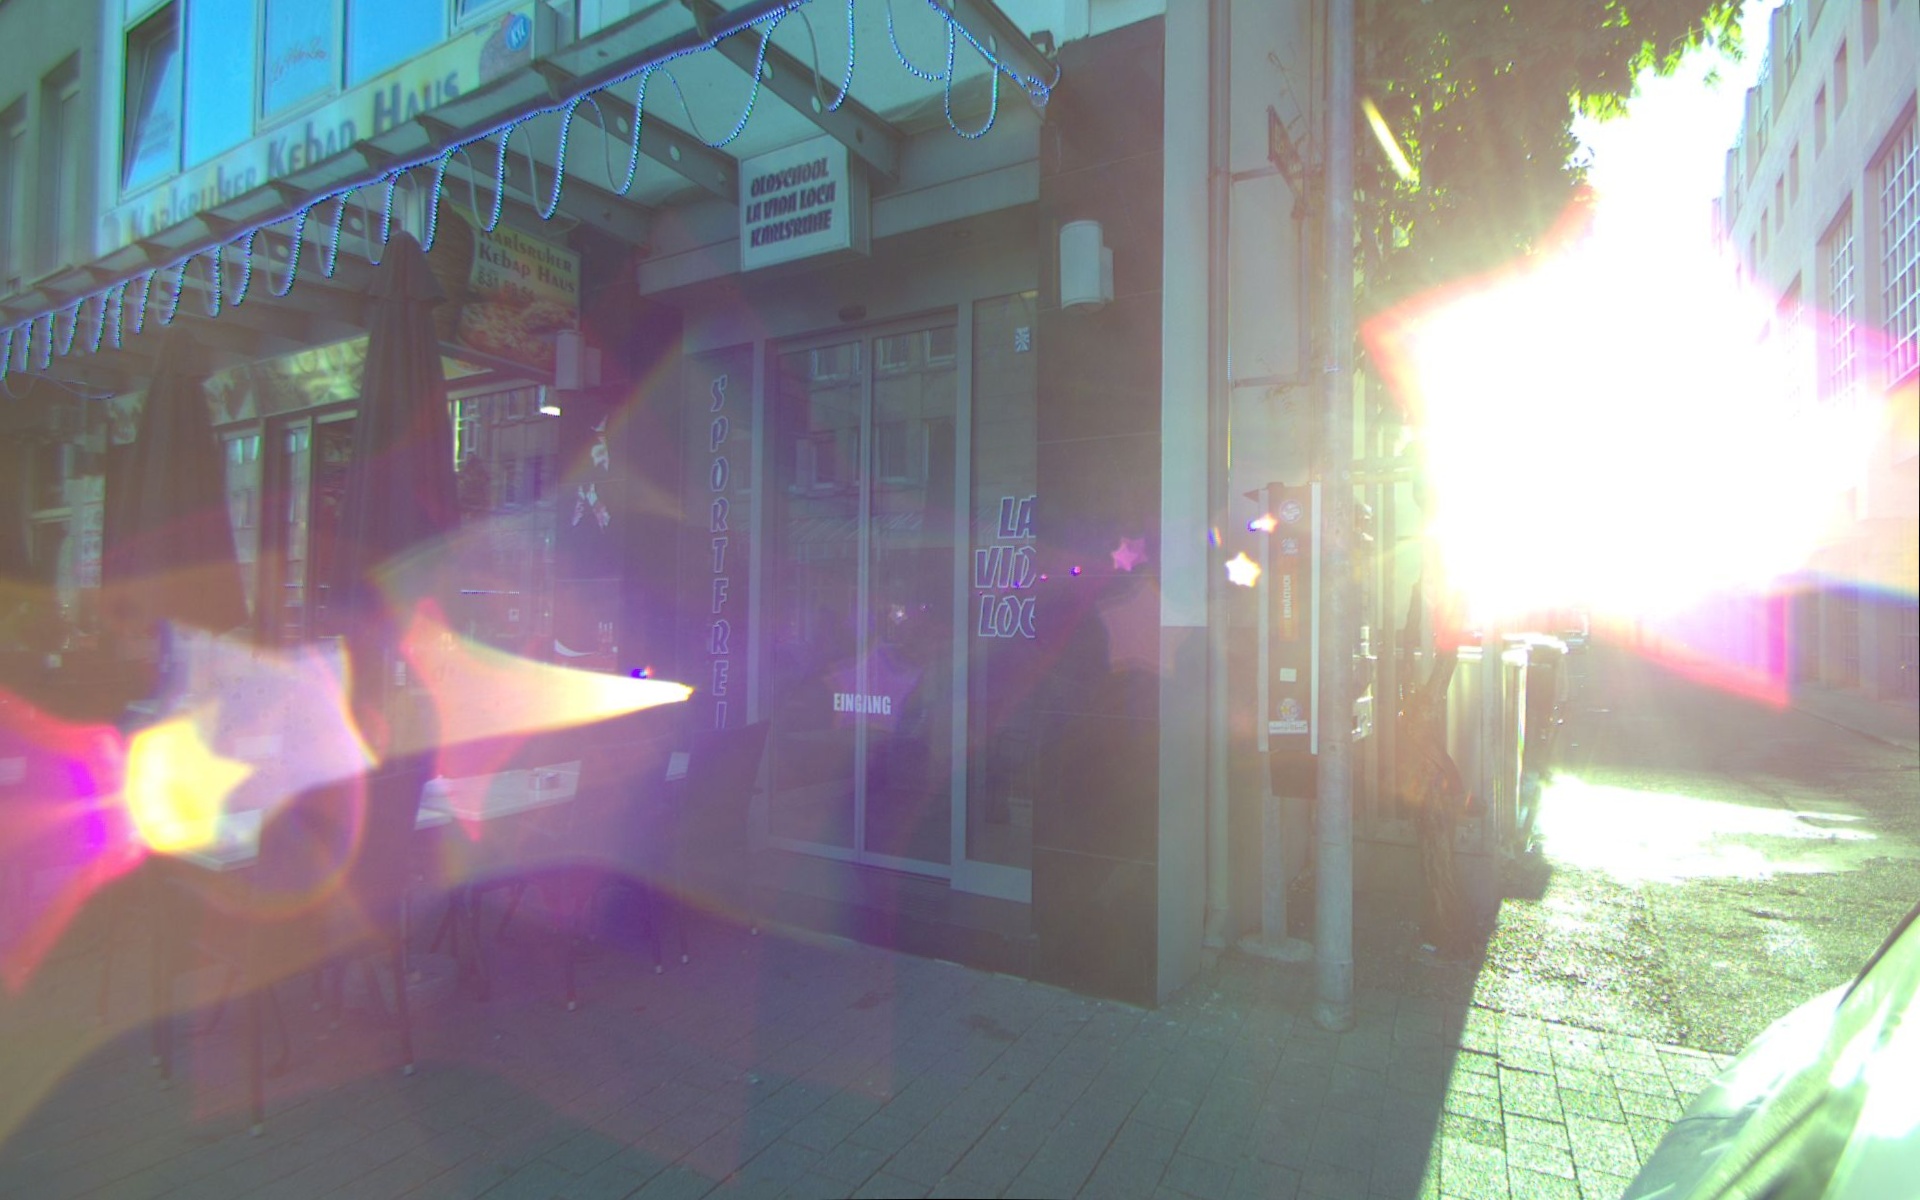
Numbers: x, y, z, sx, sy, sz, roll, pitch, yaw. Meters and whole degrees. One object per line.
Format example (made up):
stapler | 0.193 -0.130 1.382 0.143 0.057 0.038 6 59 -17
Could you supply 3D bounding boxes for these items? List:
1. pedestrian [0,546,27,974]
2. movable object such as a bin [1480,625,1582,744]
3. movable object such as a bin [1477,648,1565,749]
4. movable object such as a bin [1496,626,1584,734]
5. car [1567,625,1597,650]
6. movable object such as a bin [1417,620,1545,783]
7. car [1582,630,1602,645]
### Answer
pedestrian | -3.944 0.573 3.636 0.618 1.555 0.782 -1 -2 42
movable object such as a bin | 7.336 1.038 13.017 1.059 1.384 1.327 2 -1 30
movable object such as a bin | 6.658 1.140 12.007 0.865 1.088 0.730 2 -1 31
movable object such as a bin | 8.093 1.073 14.181 0.931 1.384 1.329 2 -1 26
car | 45.723 2.764 74.357 1.751 1.790 4.695 -3 -3 32
movable object such as a bin | 4.765 0.866 9.214 0.833 1.321 1.273 2 -1 36
car | 80.785 4.800 129.402 1.983 1.839 3.955 -2 -3 31
